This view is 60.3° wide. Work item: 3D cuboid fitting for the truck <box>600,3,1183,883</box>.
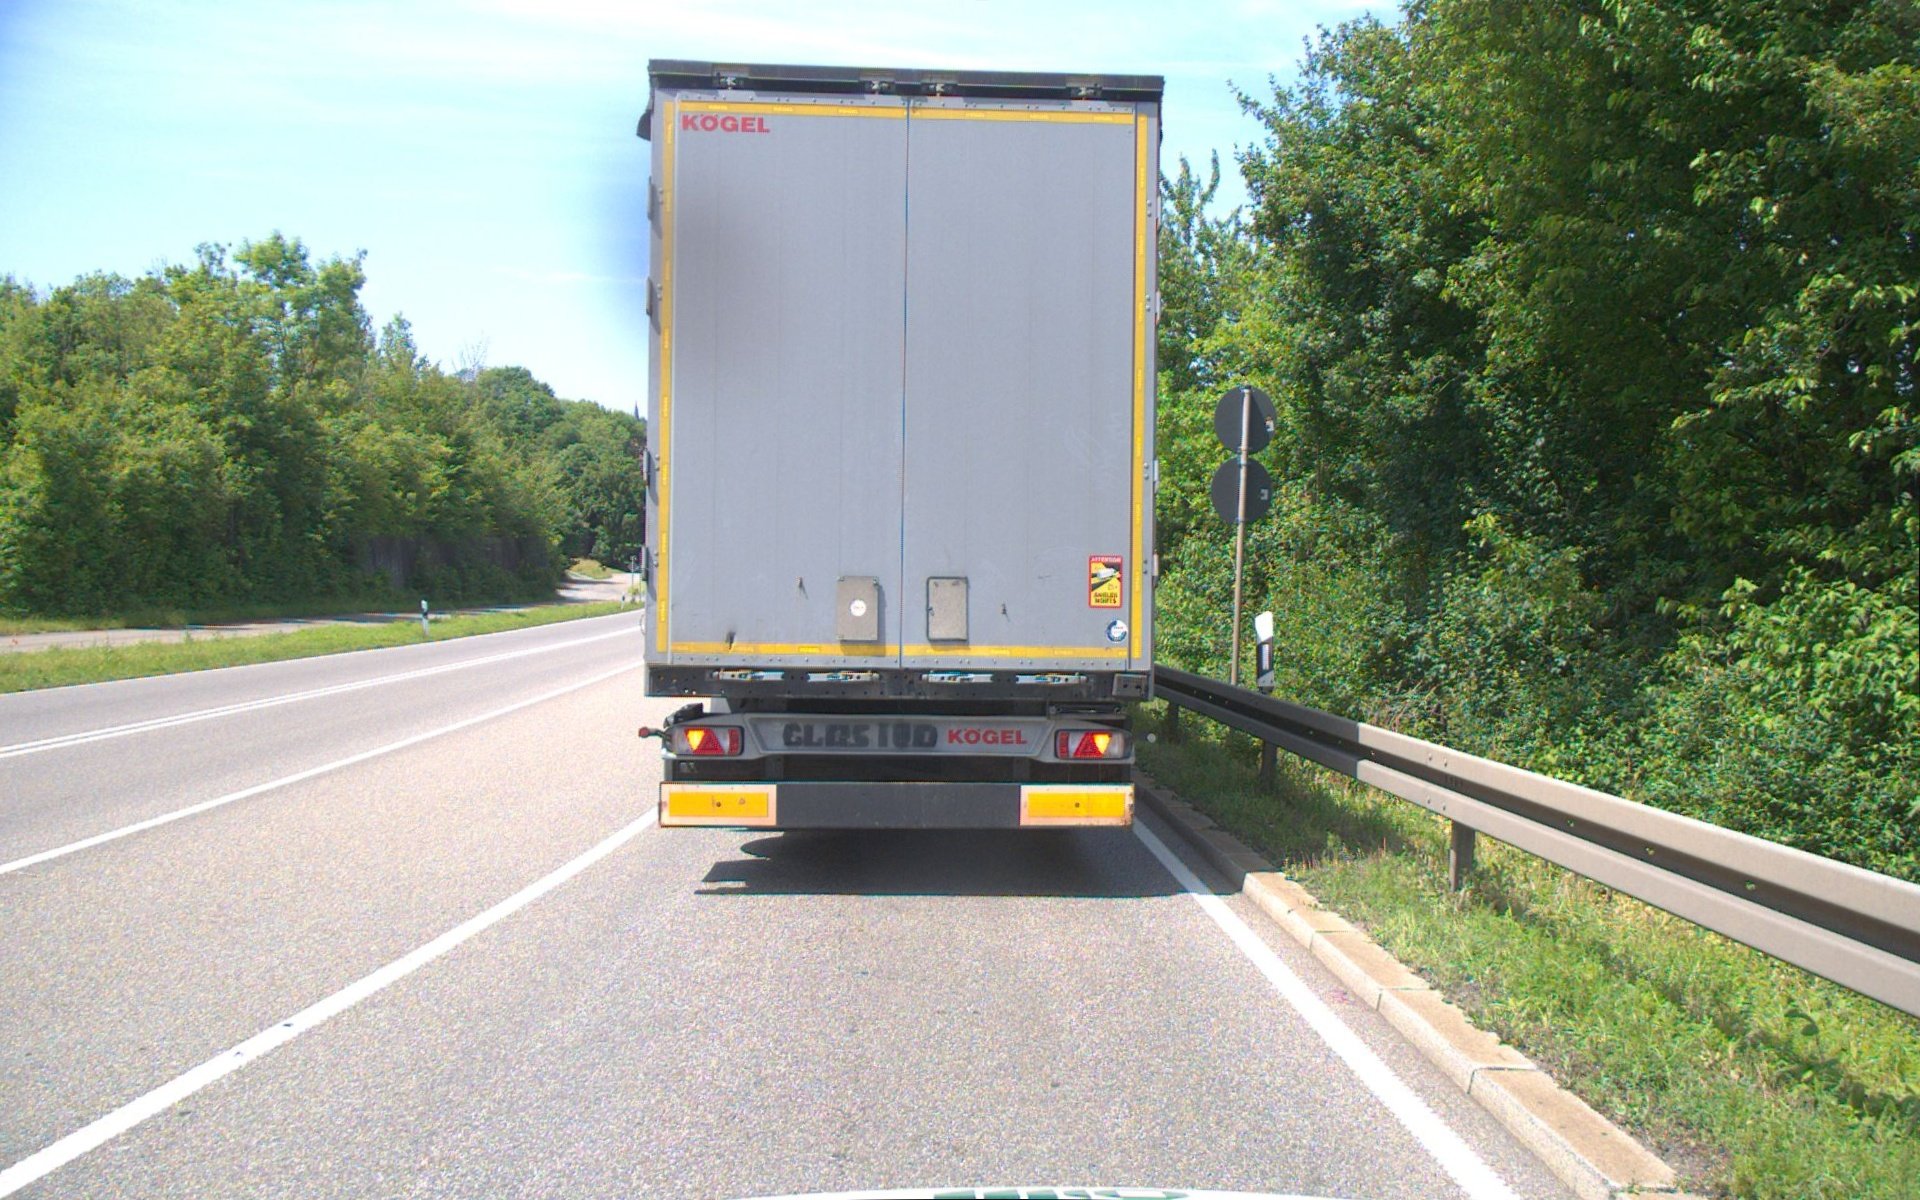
[{"bbox_3d":[-0.471,-0.767,13.740,2.701,4.100,11.920,1,0,-2],"label":"truck"}]
